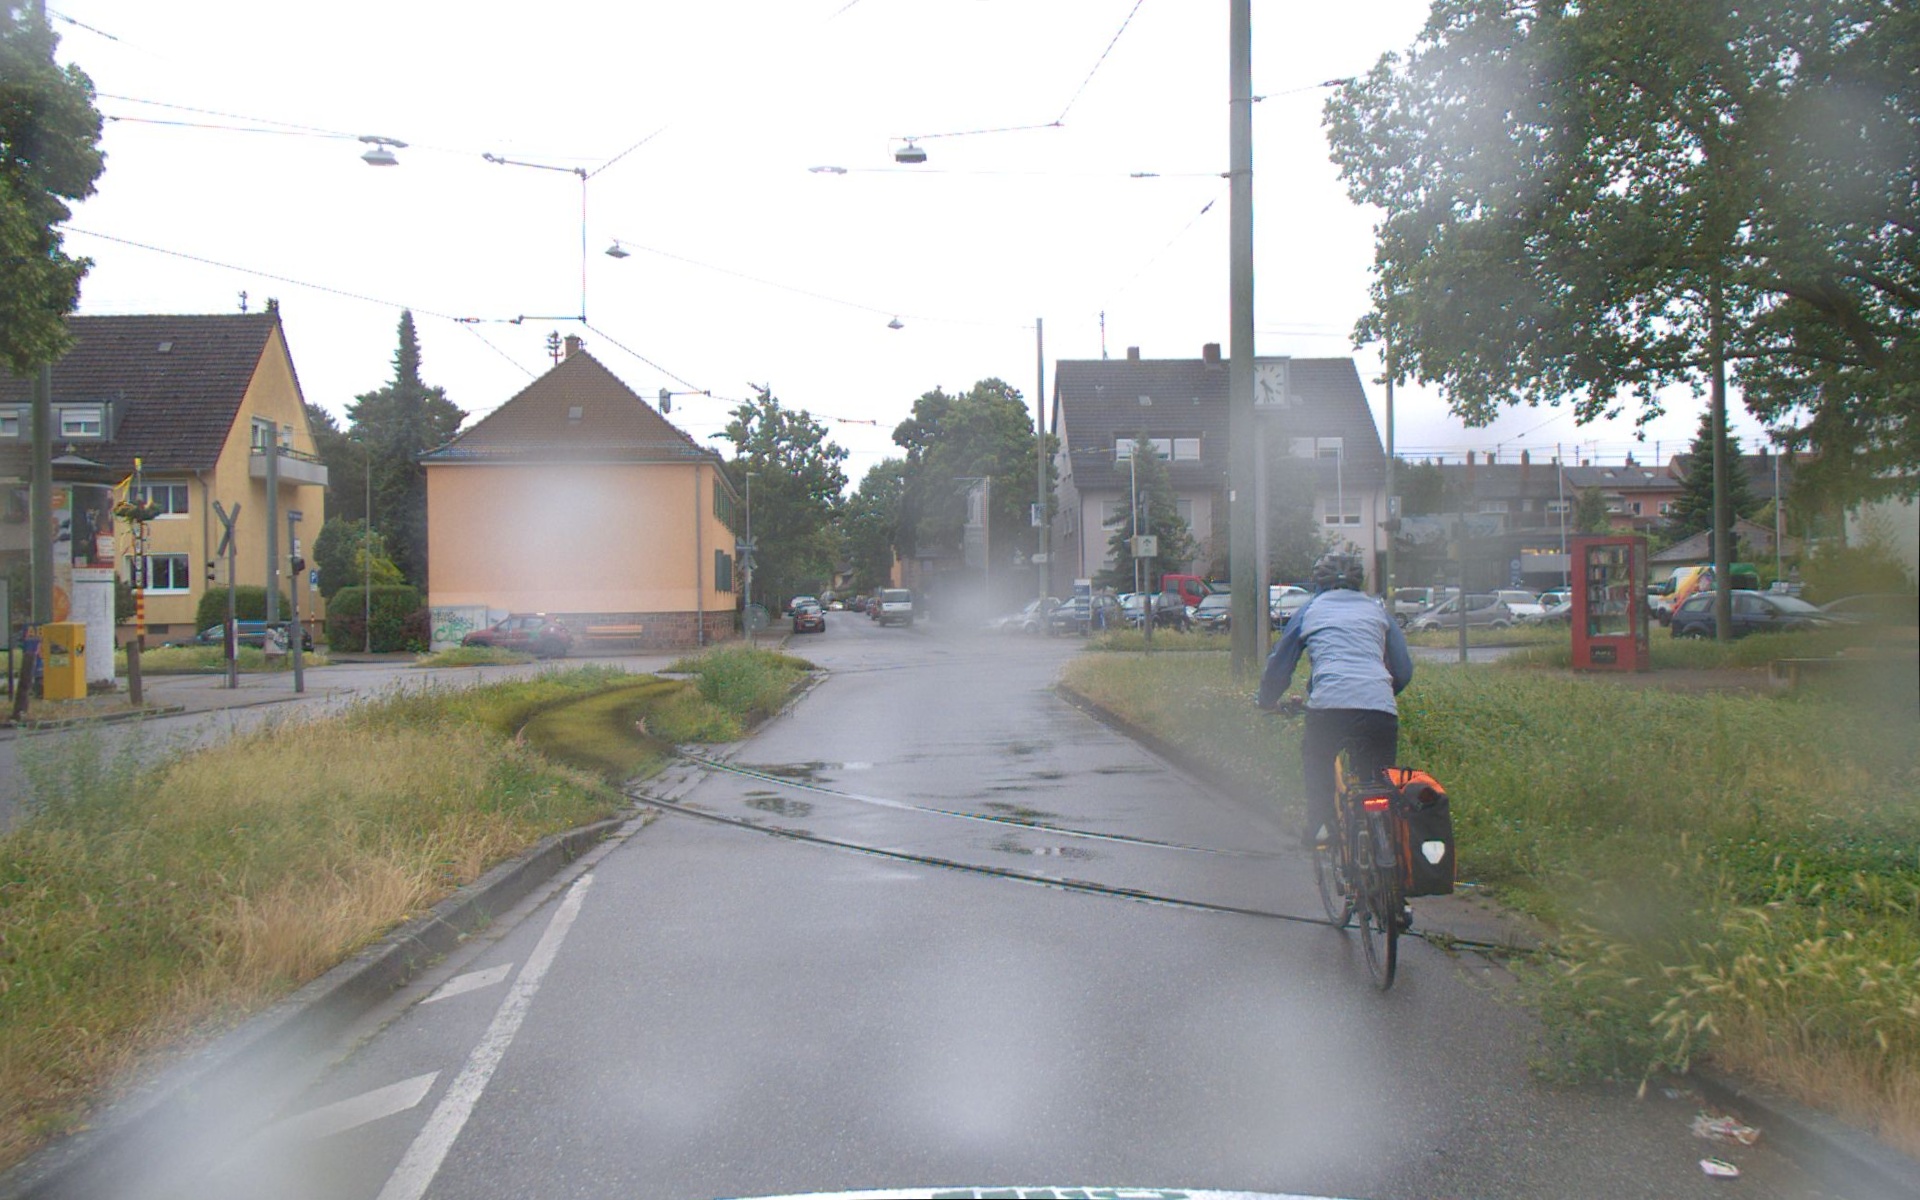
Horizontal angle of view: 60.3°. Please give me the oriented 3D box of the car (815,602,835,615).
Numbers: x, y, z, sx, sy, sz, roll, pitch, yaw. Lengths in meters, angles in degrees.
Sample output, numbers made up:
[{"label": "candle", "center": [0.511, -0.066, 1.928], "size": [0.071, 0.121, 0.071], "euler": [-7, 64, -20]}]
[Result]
[{"label": "car", "center": [-18.458, 1.104, 226.560], "size": [1.801, 1.727, 4.009], "euler": [1, 0, -19]}]

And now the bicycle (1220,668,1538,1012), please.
[{"label": "bicycle", "center": [1.608, 0.871, 6.708], "size": [0.737, 1.091, 1.926], "euler": [-2, 0, -1]}]

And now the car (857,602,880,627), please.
[{"label": "car", "center": [-7.675, 1.227, 138.627], "size": [1.793, 2.049, 3.995], "euler": [1, 0, -5]}]

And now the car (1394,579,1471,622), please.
[{"label": "car", "center": [18.469, 0.023, 64.792], "size": [1.765, 1.606, 3.871], "euler": [-2, 0, -1]}]

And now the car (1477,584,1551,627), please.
[{"label": "car", "center": [21.666, 0.209, 64.812], "size": [1.682, 1.600, 3.617], "euler": [1, 0, 1]}]

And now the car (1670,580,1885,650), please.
[{"label": "car", "center": [18.845, 0.340, 38.293], "size": [1.782, 1.502, 4.130], "euler": [-1, 0, -32]}]

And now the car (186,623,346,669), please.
[{"label": "car", "center": [-22.780, 1.499, 54.423], "size": [4.403, 1.420, 1.965], "euler": [-1, 0, -5]}]

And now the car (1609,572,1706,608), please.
[{"label": "car", "center": [33.407, -0.465, 79.183], "size": [4.376, 1.608, 1.780], "euler": [-1, -1, -25]}]

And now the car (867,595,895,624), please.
[{"label": "car", "center": [-5.712, 0.660, 119.764], "size": [1.954, 2.049, 3.997], "euler": [1, 0, -3]}]

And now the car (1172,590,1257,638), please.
[{"label": "car", "center": [9.898, 0.520, 64.180], "size": [1.956, 1.747, 3.993], "euler": [-2, 0, 29]}]

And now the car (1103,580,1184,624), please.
[{"label": "car", "center": [7.192, 0.069, 64.486], "size": [1.768, 1.606, 3.865], "euler": [-2, 0, 29]}]

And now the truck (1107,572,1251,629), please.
[{"label": "truck", "center": [9.624, 0.038, 72.696], "size": [5.954, 2.312, 2.001], "euler": [-2, -1, 17]}]

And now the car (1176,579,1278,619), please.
[{"label": "car", "center": [12.248, -0.034, 76.112], "size": [4.342, 1.717, 1.999], "euler": [-1, -1, -1]}]

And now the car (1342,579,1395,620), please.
[{"label": "car", "center": [15.892, -0.002, 64.432], "size": [1.788, 1.530, 4.062], "euler": [1, 0, 11]}]

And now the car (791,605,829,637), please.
[{"label": "car", "center": [-8.047, 1.135, 88.720], "size": [1.955, 1.646, 3.995], "euler": [-1, -1, -5]}]

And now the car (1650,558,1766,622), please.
[{"label": "car", "center": [30.179, -0.385, 66.931], "size": [2.102, 2.448, 5.145], "euler": [1, 0, -3]}]

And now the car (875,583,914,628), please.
[{"label": "car", "center": [-4.017, 0.336, 100.912], "size": [2.111, 2.617, 4.129], "euler": [1, 0, -5]}]

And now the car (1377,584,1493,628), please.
[{"label": "car", "center": [19.856, 0.248, 69.242], "size": [4.342, 1.717, 1.760], "euler": [-1, -1, -1]}]

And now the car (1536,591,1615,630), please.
[{"label": "car", "center": [23.918, 0.398, 64.379], "size": [1.682, 1.420, 3.842], "euler": [1, 0, 0]}]

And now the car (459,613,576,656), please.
[{"label": "car", "center": [-14.880, 1.146, 55.760], "size": [3.535, 1.362, 1.721], "euler": [1, 0, -6]}]

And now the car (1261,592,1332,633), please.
[{"label": "car", "center": [13.130, 0.486, 64.399], "size": [1.791, 1.531, 4.055], "euler": [1, 0, 25]}]

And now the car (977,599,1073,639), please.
[{"label": "car", "center": [2.834, 0.829, 72.568], "size": [3.807, 1.606, 1.795], "euler": [-2, 0, -23]}]

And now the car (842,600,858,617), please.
[{"label": "car", "center": [-13.507, 1.092, 203.100], "size": [1.793, 2.049, 3.995], "euler": [1, 0, -5]}]

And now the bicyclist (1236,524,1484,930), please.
[{"label": "bicyclist", "center": [1.590, 0.481, 6.707], "size": [0.735, 1.511, 0.846], "euler": [-2, 0, -1]}]

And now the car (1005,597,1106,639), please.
[{"label": "car", "center": [4.008, 0.752, 69.312], "size": [3.807, 1.606, 1.795], "euler": [-2, 0, -23]}]

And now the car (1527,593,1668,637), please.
[{"label": "car", "center": [22.336, 0.522, 58.024], "size": [4.292, 1.362, 1.720], "euler": [2, 0, -8]}]

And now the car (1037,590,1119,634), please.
[{"label": "car", "center": [4.737, 0.460, 66.030], "size": [1.768, 1.606, 3.865], "euler": [-2, 0, 29]}]

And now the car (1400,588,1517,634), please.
[{"label": "car", "center": [17.419, 0.372, 57.857], "size": [3.558, 1.531, 1.722], "euler": [1, 0, -1]}]

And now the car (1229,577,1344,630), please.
[{"label": "car", "center": [13.616, 0.164, 69.117], "size": [4.342, 2.049, 1.999], "euler": [-1, -1, -1]}]

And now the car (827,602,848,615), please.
[{"label": "car", "center": [-16.433, 1.116, 221.240], "size": [1.801, 1.727, 4.009], "euler": [1, 0, -19]}]

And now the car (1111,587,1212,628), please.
[{"label": "car", "center": [8.491, 0.325, 69.637], "size": [3.882, 1.626, 2.001], "euler": [-2, -1, 17]}]
